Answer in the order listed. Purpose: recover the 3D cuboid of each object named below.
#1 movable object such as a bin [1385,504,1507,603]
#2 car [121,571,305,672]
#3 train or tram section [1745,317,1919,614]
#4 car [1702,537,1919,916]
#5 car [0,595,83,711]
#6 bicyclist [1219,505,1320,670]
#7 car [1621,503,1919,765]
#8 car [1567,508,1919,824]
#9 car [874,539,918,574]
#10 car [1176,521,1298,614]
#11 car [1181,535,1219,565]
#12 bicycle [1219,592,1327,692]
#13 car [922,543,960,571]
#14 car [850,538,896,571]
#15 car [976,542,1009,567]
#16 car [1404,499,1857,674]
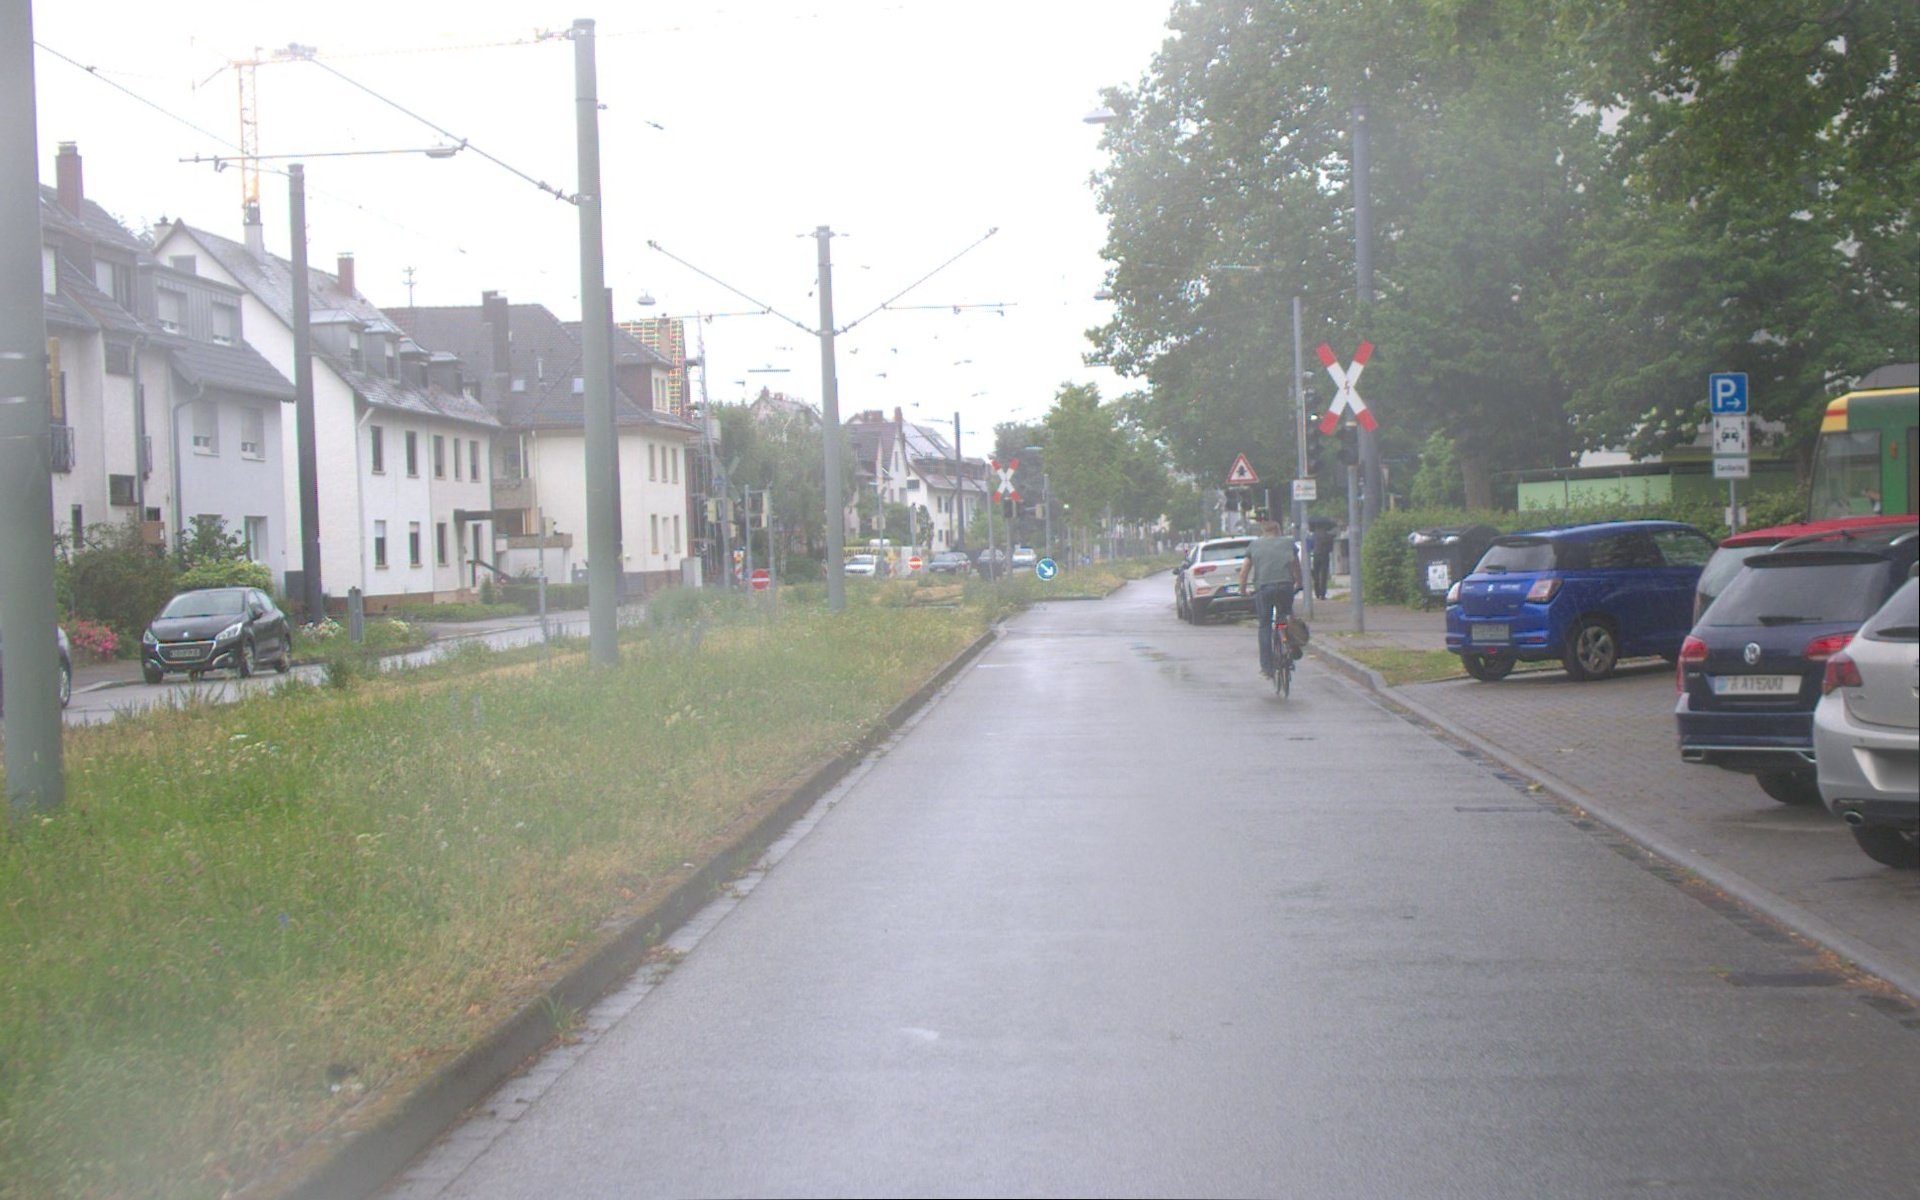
[{"bbox_3d":[8.732,-0.831,61.822,1.549,1.698,1.501,-3,1,-21],"label":"movable object such as a bin"},{"bbox_3d":[-12.055,0.371,55.722,1.877,1.498,4.133,-2,-1,2],"label":"car"},{"bbox_3d":[15.812,-1.726,39.022,2.707,3.577,14.731,-1,0,-40],"label":"train or tram section"},{"bbox_3d":[5.514,0.412,15.266,3.987,1.548,1.961,-4,0,-31],"label":"car"},{"bbox_3d":[-12.550,0.696,43.232,1.601,1.419,4.666,-2,-1,3],"label":"car"},{"bbox_3d":[3.013,-0.119,33.566,0.831,1.553,0.914,-3,0,0],"label":"bicyclist"},{"bbox_3d":[6.236,0.128,21.951,3.587,1.475,1.638,-4,2,-23],"label":"car"},{"bbox_3d":[5.565,0.235,18.742,4.109,1.475,1.866,-4,2,-29],"label":"car"},{"bbox_3d":[-3.454,-2.345,186.503,1.994,1.699,3.999,-2,-1,4],"label":"car"},{"bbox_3d":[5.138,-0.592,64.195,1.955,1.548,4.000,-4,0,2],"label":"car"},{"bbox_3d":[13.559,-2.812,194.259,1.994,1.487,3.999,-2,-1,3],"label":"car"},{"bbox_3d":[3.044,0.395,33.589,0.821,0.909,1.985,-3,0,0],"label":"bicycle"},{"bbox_3d":[-1.148,-2.671,211.971,1.994,1.539,3.999,-2,-1,4],"label":"car"},{"bbox_3d":[-4.529,-2.375,180.062,1.994,1.539,3.999,-2,-1,4],"label":"car"},{"bbox_3d":[2.229,-3.143,237.505,1.994,1.539,3.999,-2,-1,4],"label":"car"},{"bbox_3d":[6.621,-0.173,33.902,3.987,1.478,2.000,-3,3,-29],"label":"car"}]
